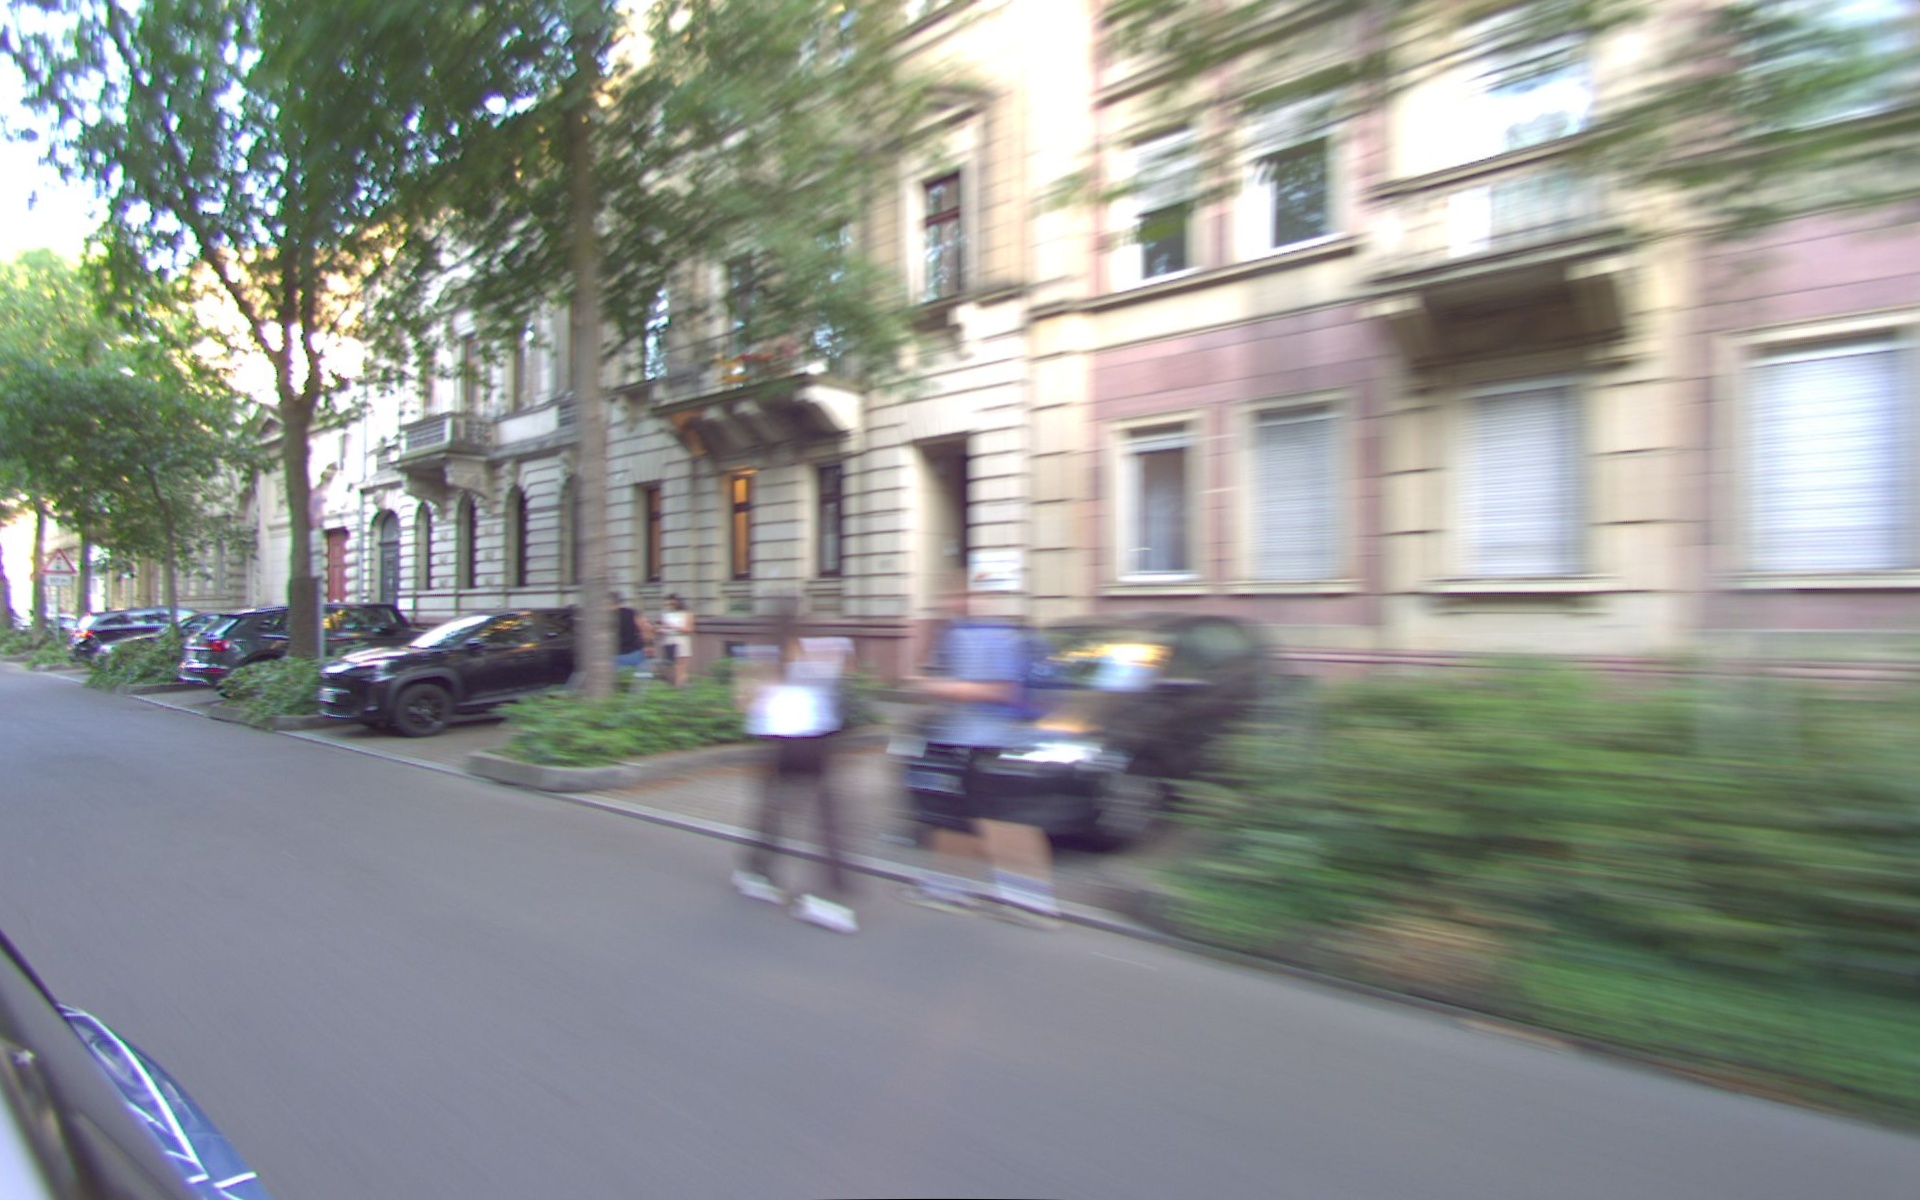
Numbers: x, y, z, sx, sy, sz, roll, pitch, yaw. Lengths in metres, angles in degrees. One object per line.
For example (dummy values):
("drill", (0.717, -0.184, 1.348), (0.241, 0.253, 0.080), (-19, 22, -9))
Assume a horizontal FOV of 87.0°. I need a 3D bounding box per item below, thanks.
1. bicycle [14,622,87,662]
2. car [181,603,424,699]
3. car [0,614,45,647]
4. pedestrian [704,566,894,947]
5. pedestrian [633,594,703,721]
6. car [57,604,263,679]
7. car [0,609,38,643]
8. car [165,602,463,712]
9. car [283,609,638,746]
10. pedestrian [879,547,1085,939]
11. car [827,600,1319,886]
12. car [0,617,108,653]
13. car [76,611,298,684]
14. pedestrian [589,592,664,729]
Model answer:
("bicycle", (-30.003, 1.366, 33.398), (1.750, 1.241, 0.500), (0, 0, -45))
("car", (-13.111, 0.941, 20.352), (1.712, 1.684, 3.763), (-2, 0, 39))
("car", (-46.049, 1.451, 47.767), (1.826, 1.569, 4.125), (-1, -1, 43))
("pedestrian", (-0.820, 0.707, 4.997), (0.783, 1.683, 0.834), (1, -2, -18))
("pedestrian", (-4.176, 0.795, 14.492), (0.725, 1.752, 0.672), (0, -1, -43))
("car", (-20.946, 1.018, 26.625), (1.779, 1.608, 3.925), (-1, 3, 40))
("car", (-51.437, 1.421, 53.029), (1.888, 1.735, 4.382), (-1, 1, 38))
("car", (-11.514, 0.931, 18.261), (1.906, 1.684, 4.158), (-2, 0, 40))
("car", (-6.625, 0.907, 13.700), (1.907, 1.544, 3.902), (0, 0, 43))
("pedestrian", (0.084, 0.653, 5.045), (0.783, 1.750, 0.834), (1, -2, -18))
("car", (1.021, 0.782, 7.414), (1.871, 1.469, 3.655), (-2, 0, 40))
("car", (-37.926, 1.397, 41.418), (1.915, 1.401, 4.465), (-1, -1, 41))
("car", (-18.394, 1.070, 24.208), (1.764, 1.397, 3.924), (-2, 1, 41))
("pedestrian", (-4.440, 0.778, 13.461), (0.725, 1.752, 0.672), (0, -1, -43))
